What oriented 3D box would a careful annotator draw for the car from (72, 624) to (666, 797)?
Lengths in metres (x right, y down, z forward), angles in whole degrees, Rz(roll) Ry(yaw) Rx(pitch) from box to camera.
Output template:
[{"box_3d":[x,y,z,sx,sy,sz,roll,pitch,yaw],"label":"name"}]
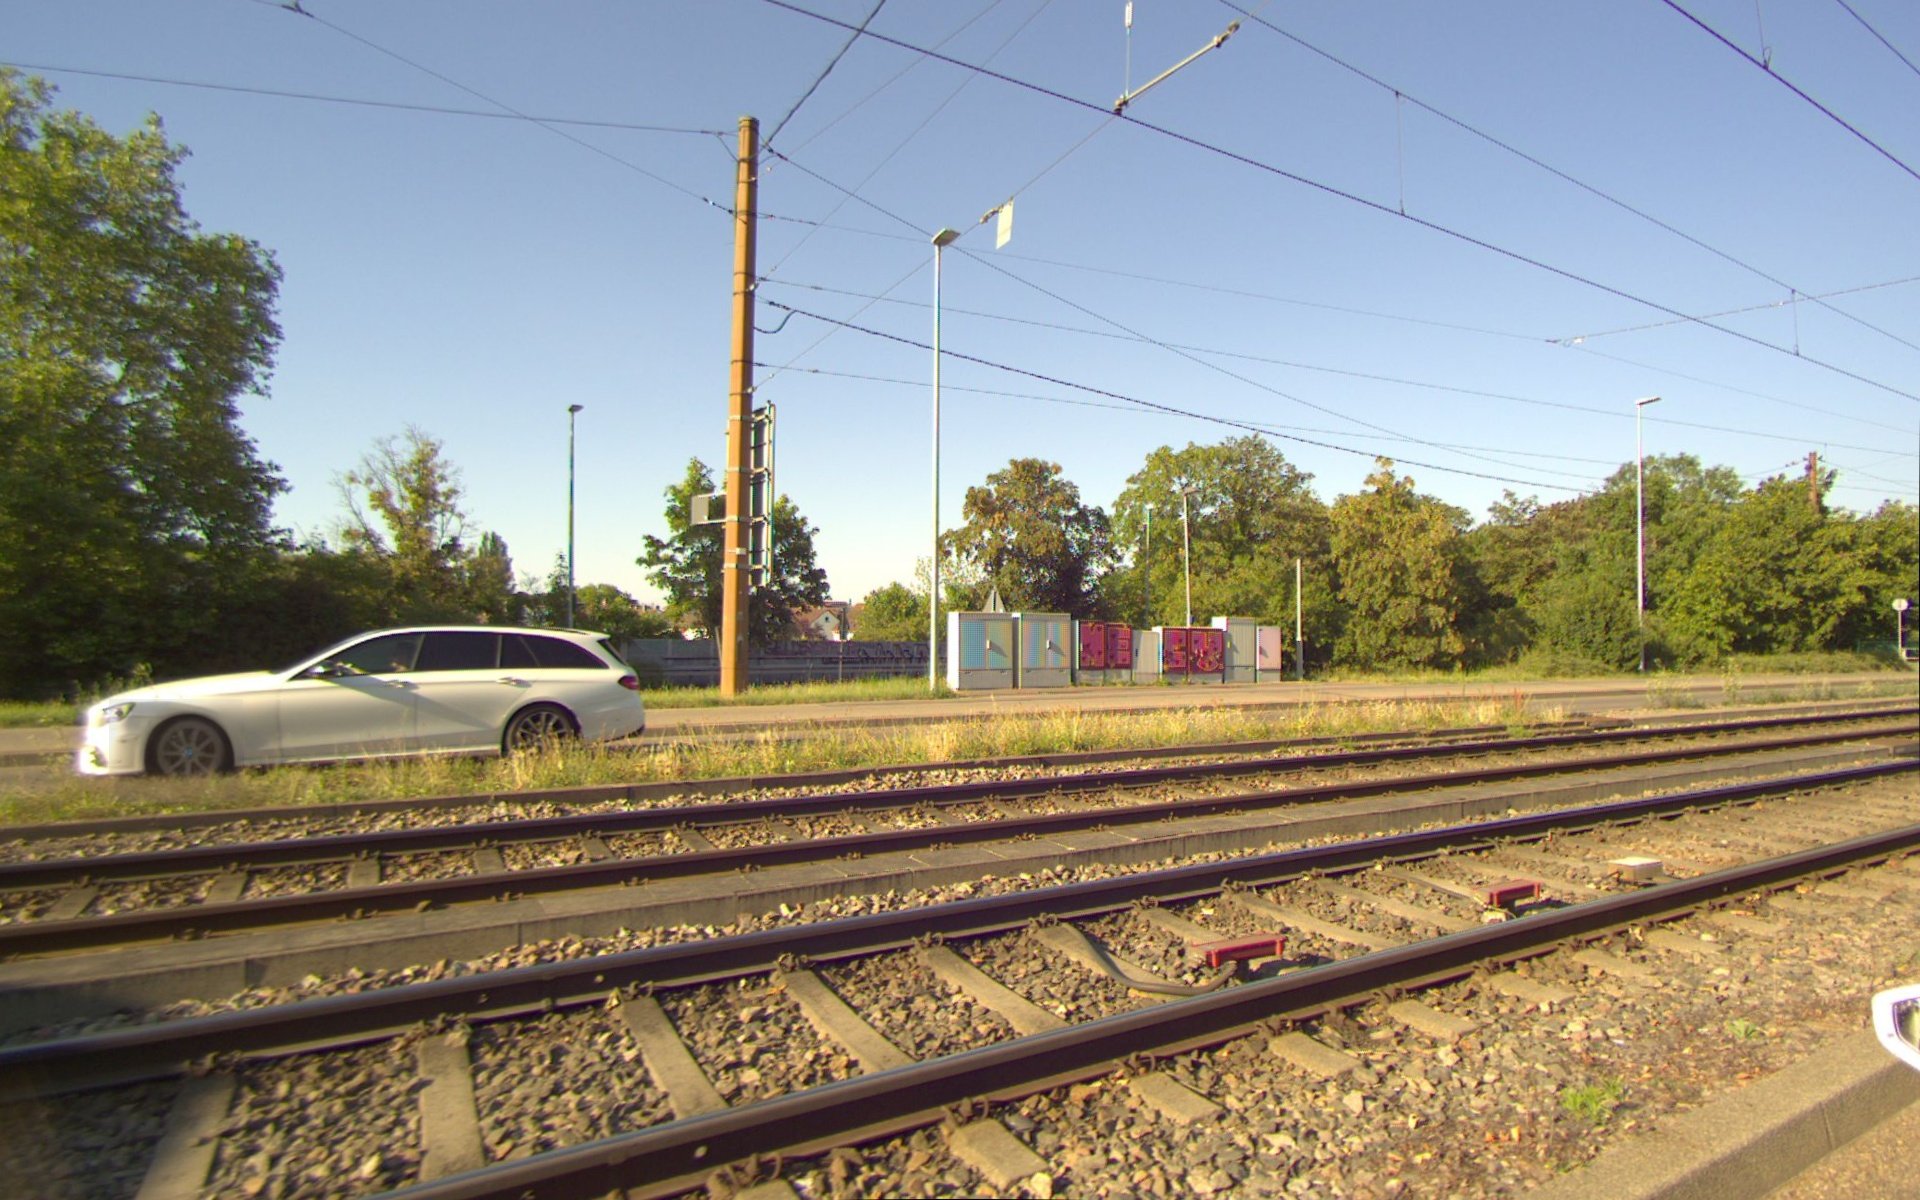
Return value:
[{"box_3d":[-5.685,0.985,10.327,4.854,1.431,1.759,1,-1,-30],"label":"car"}]
